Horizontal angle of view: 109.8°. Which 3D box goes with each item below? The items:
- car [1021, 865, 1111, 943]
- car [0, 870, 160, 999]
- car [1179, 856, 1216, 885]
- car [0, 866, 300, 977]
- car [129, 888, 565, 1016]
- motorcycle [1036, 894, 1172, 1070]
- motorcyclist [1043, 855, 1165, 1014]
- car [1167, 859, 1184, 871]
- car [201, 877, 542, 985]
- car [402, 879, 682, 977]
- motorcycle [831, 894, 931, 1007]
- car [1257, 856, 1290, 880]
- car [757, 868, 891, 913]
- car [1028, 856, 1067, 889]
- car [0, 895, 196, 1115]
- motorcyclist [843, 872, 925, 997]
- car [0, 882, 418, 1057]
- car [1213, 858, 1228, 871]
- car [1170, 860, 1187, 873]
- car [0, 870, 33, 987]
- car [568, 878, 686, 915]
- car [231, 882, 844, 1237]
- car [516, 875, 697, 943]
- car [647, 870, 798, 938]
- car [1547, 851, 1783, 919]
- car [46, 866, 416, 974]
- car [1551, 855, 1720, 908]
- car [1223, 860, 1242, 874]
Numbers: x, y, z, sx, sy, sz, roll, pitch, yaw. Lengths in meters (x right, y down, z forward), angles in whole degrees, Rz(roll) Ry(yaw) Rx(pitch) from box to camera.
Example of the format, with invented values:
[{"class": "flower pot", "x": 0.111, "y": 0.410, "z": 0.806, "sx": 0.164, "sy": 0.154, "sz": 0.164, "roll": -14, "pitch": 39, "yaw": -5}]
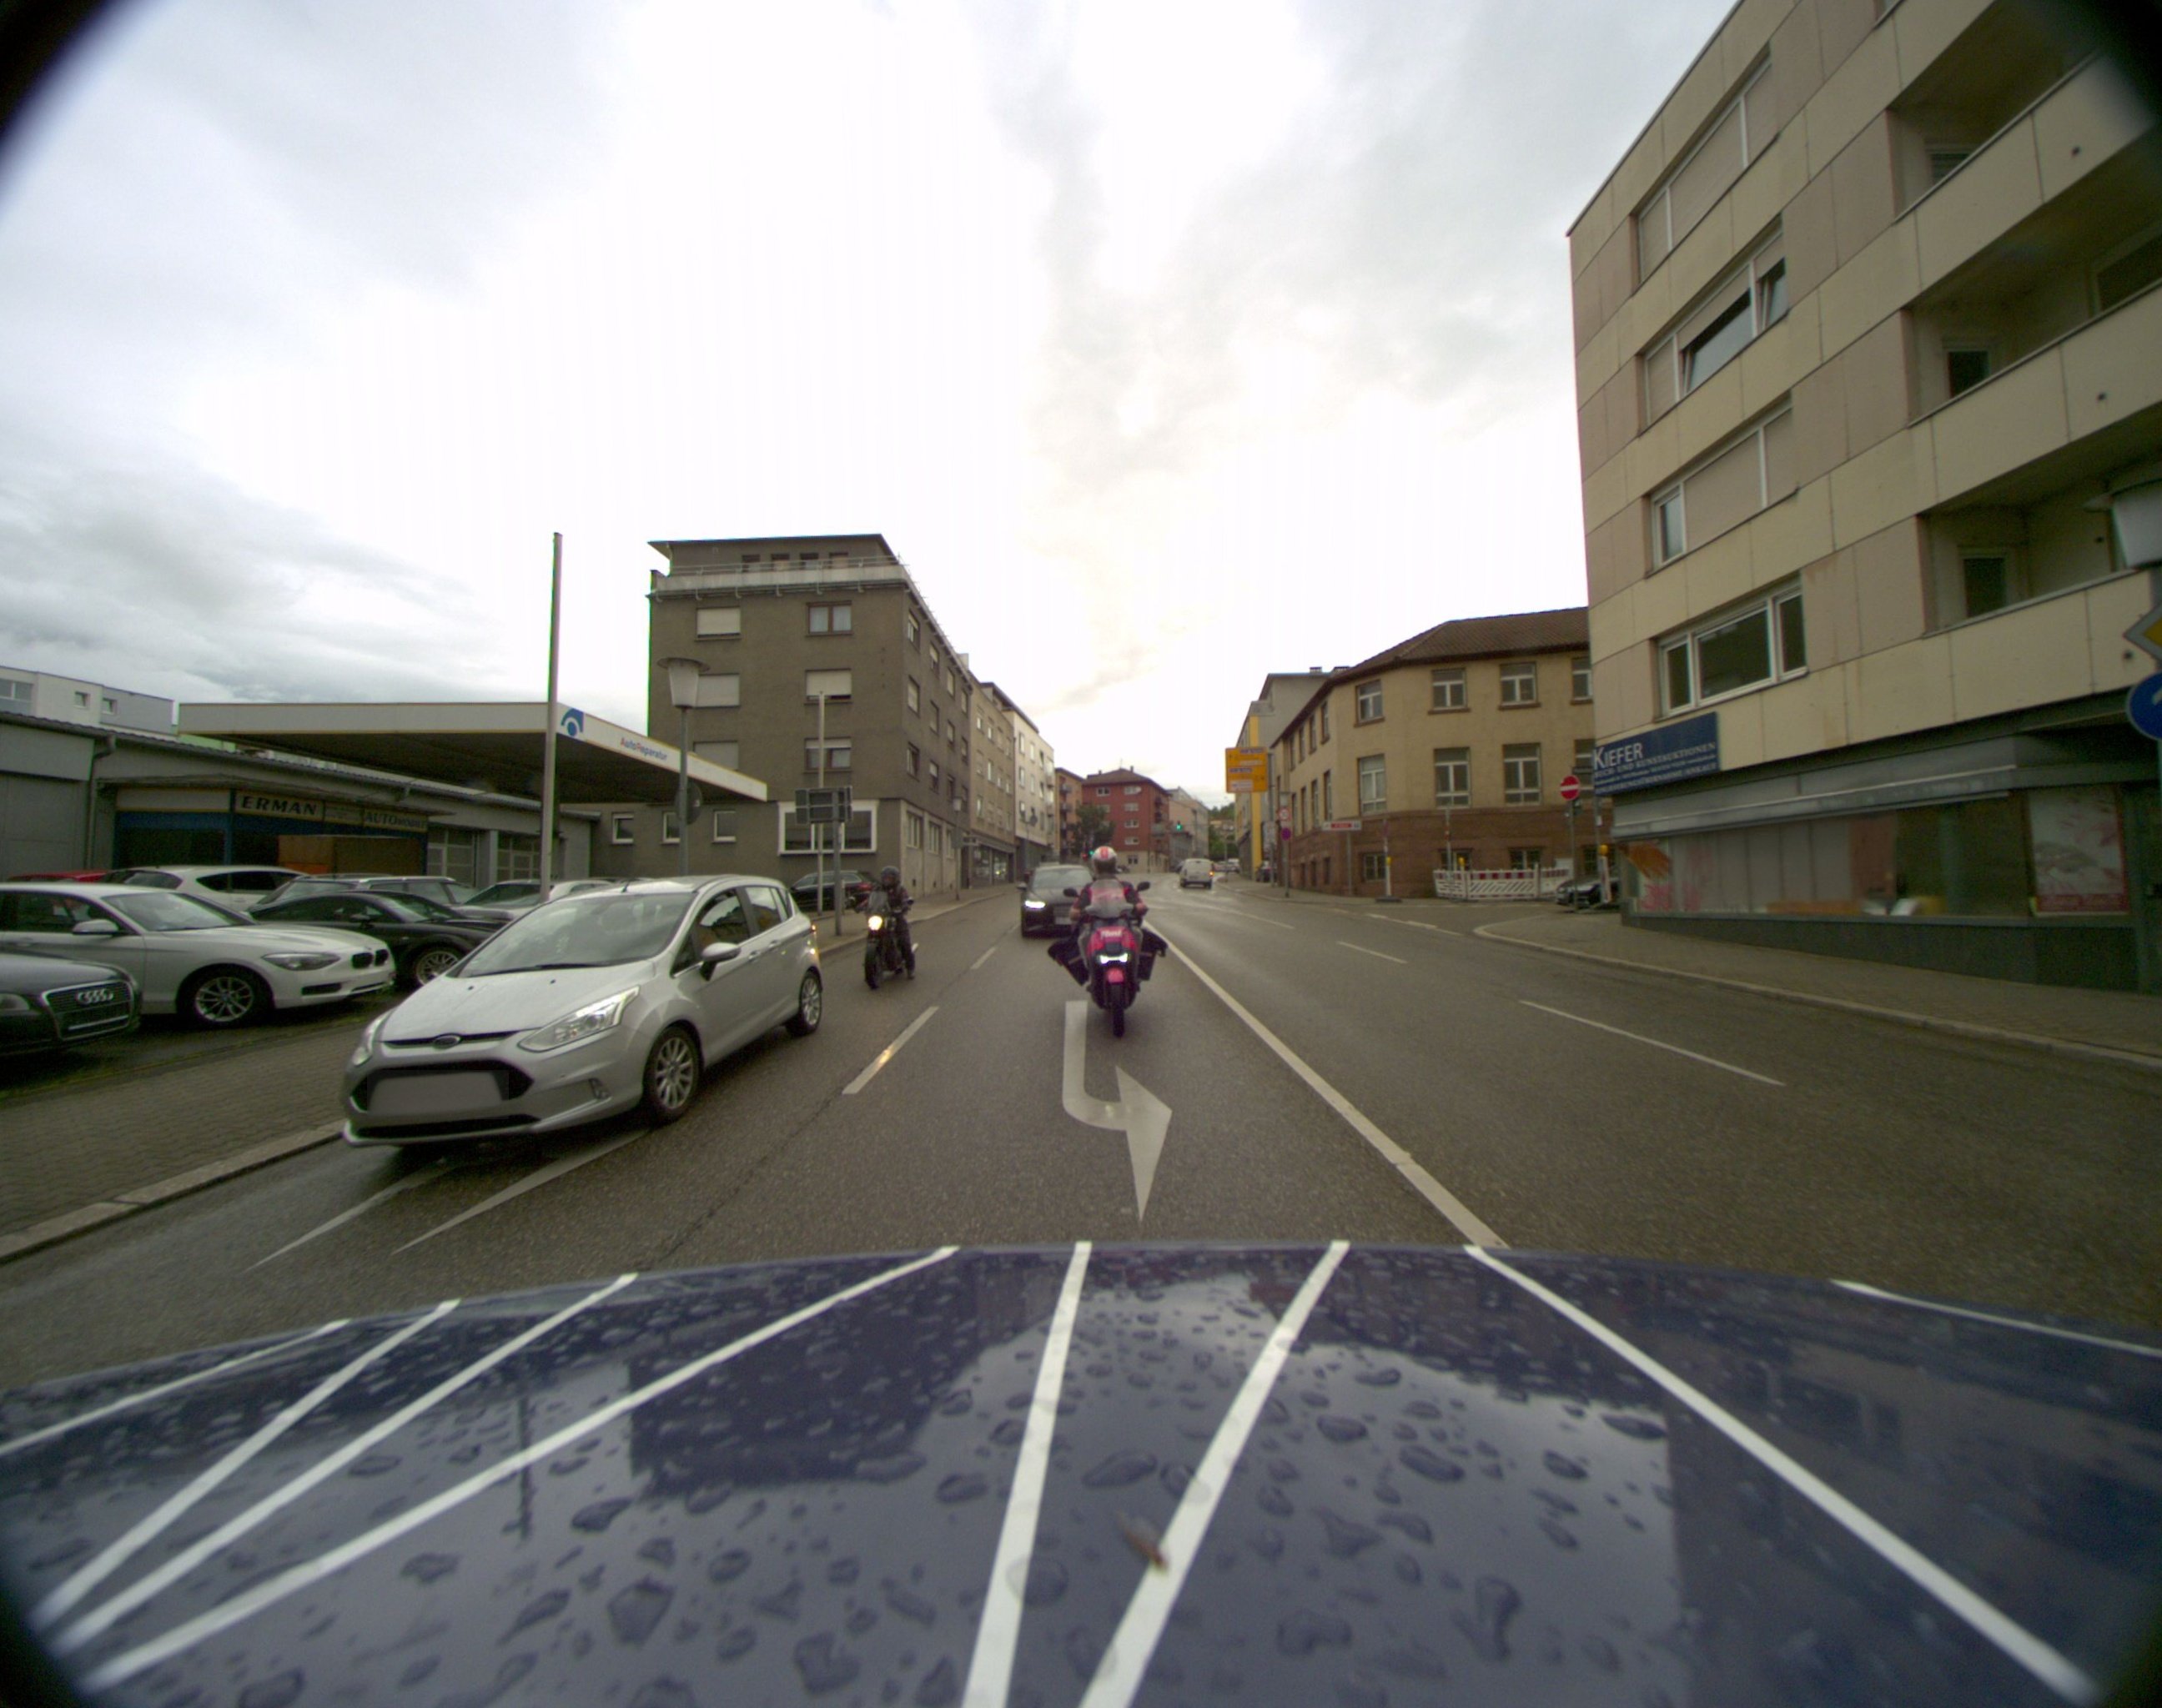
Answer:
[{"class": "car", "x": -0.453, "y": 1.026, "z": 17.295, "sx": 1.706, "sy": 1.451, "sz": 4.317, "roll": -3, "pitch": 0, "yaw": -4}, {"class": "car", "x": -14.786, "y": 1.053, "z": 9.668, "sx": 1.793, "sy": 1.591, "sz": 3.519, "roll": 1, "pitch": 0, "yaw": 1}, {"class": "car", "x": 7.398, "y": 1.025, "z": 48.489, "sx": 1.866, "sy": 1.793, "sz": 4.266, "roll": 0, "pitch": 0, "yaw": 2}, {"class": "car", "x": -17.478, "y": 1.123, "z": 14.099, "sx": 1.793, "sy": 1.720, "sz": 3.949, "roll": -1, "pitch": 0, "yaw": 1}, {"class": "car", "x": -9.759, "y": 1.246, "z": 10.483, "sx": 4.002, "sy": 1.392, "sz": 1.669, "roll": -1, "pitch": 0, "yaw": -14}, {"class": "motorcycle", "x": 0.240, "y": 1.091, "z": 7.389, "sx": 1.010, "sy": 1.218, "sz": 2.694, "roll": -4, "pitch": 0, "yaw": 3}, {"class": "motorcyclist", "x": 0.223, "y": 0.724, "z": 7.237, "sx": 1.010, "sy": 1.373, "sz": 0.835, "roll": -4, "pitch": 0, "yaw": 2}, {"class": "car", "x": 11.870, "y": 1.308, "z": 94.892, "sx": 1.861, "sy": 1.445, "sz": 4.322, "roll": 0, "pitch": 0, "yaw": 10}, {"class": "car", "x": -12.301, "y": 1.229, "z": 13.711, "sx": 1.793, "sy": 1.535, "sz": 4.493, "roll": 3, "pitch": -2, "yaw": 1}, {"class": "car", "x": -9.711, "y": 1.237, "z": 14.274, "sx": 1.792, "sy": 1.407, "sz": 4.616, "roll": 0, "pitch": 0, "yaw": 3}, {"class": "motorcycle", "x": -2.689, "y": 1.249, "z": 10.509, "sx": 0.847, "sy": 1.218, "sz": 2.372, "roll": -4, "pitch": 0, "yaw": -4}, {"class": "car", "x": 13.278, "y": 0.964, "z": 52.592, "sx": 1.861, "sy": 1.445, "sz": 3.966, "roll": -4, "pitch": -1, "yaw": 10}, {"class": "car", "x": -10.092, "y": 1.428, "z": 30.074, "sx": 4.531, "sy": 1.495, "sz": 2.001, "roll": -3, "pitch": 0, "yaw": 4}, {"class": "car", "x": -1.989, "y": 1.096, "z": 46.017, "sx": 1.848, "sy": 1.892, "sz": 3.766, "roll": -1, "pitch": 0, "yaw": 5}, {"class": "car", "x": -9.679, "y": 1.034, "z": 5.414, "sx": 4.003, "sy": 1.441, "sz": 1.796, "roll": 3, "pitch": -1, "yaw": -16}, {"class": "motorcyclist", "x": -2.701, "y": 1.067, "z": 10.521, "sx": 0.847, "sy": 1.580, "sz": 0.962, "roll": -4, "pitch": 0, "yaw": -5}, {"class": "car", "x": -9.886, "y": 1.122, "z": 7.987, "sx": 4.002, "sy": 1.521, "sz": 1.761, "roll": -1, "pitch": 0, "yaw": -15}, {"class": "car", "x": 19.469, "y": 1.440, "z": 105.856, "sx": 1.861, "sy": 1.688, "sz": 4.321, "roll": 0, "pitch": 0, "yaw": 8}, {"class": "car", "x": 10.845, "y": 1.356, "z": 84.273, "sx": 1.861, "sy": 1.445, "sz": 4.321, "roll": 0, "pitch": 0, "yaw": 8}, {"class": "car", "x": -16.948, "y": 1.111, "z": 9.630, "sx": 1.793, "sy": 1.720, "sz": 3.949, "roll": -1, "pitch": 0, "yaw": 1}, {"class": "car", "x": -18.427, "y": 1.722, "z": 30.955, "sx": 3.751, "sy": 1.445, "sz": 1.795, "roll": 0, "pitch": -2, "yaw": 3}, {"class": "car", "x": -3.419, "y": 1.119, "z": 6.007, "sx": 1.831, "sy": 1.532, "sz": 4.251, "roll": -4, "pitch": 0, "yaw": -3}, {"class": "car", "x": -12.054, "y": 1.333, "z": 19.723, "sx": 1.793, "sy": 1.502, "sz": 4.420, "roll": 3, "pitch": -2, "yaw": 1}, {"class": "car", "x": -9.348, "y": 1.242, "z": 20.269, "sx": 1.793, "sy": 1.503, "sz": 4.438, "roll": -1, "pitch": 0, "yaw": 1}, {"class": "car", "x": 14.518, "y": 0.762, "z": 19.148, "sx": 4.358, "sy": 1.495, "sz": 1.755, "roll": -2, "pitch": 0, "yaw": 11}, {"class": "car", "x": -15.146, "y": 1.066, "z": 14.017, "sx": 1.793, "sy": 1.591, "sz": 4.419, "roll": -1, "pitch": 0, "yaw": 1}, {"class": "car", "x": 17.146, "y": 0.877, "z": 23.685, "sx": 3.806, "sy": 1.457, "sz": 1.756, "roll": -2, "pitch": -3, "yaw": 14}, {"class": "car", "x": 16.926, "y": 1.471, "z": 85.136, "sx": 1.861, "sy": 1.445, "sz": 4.321, "roll": 2, "pitch": 0, "yaw": 8}]
